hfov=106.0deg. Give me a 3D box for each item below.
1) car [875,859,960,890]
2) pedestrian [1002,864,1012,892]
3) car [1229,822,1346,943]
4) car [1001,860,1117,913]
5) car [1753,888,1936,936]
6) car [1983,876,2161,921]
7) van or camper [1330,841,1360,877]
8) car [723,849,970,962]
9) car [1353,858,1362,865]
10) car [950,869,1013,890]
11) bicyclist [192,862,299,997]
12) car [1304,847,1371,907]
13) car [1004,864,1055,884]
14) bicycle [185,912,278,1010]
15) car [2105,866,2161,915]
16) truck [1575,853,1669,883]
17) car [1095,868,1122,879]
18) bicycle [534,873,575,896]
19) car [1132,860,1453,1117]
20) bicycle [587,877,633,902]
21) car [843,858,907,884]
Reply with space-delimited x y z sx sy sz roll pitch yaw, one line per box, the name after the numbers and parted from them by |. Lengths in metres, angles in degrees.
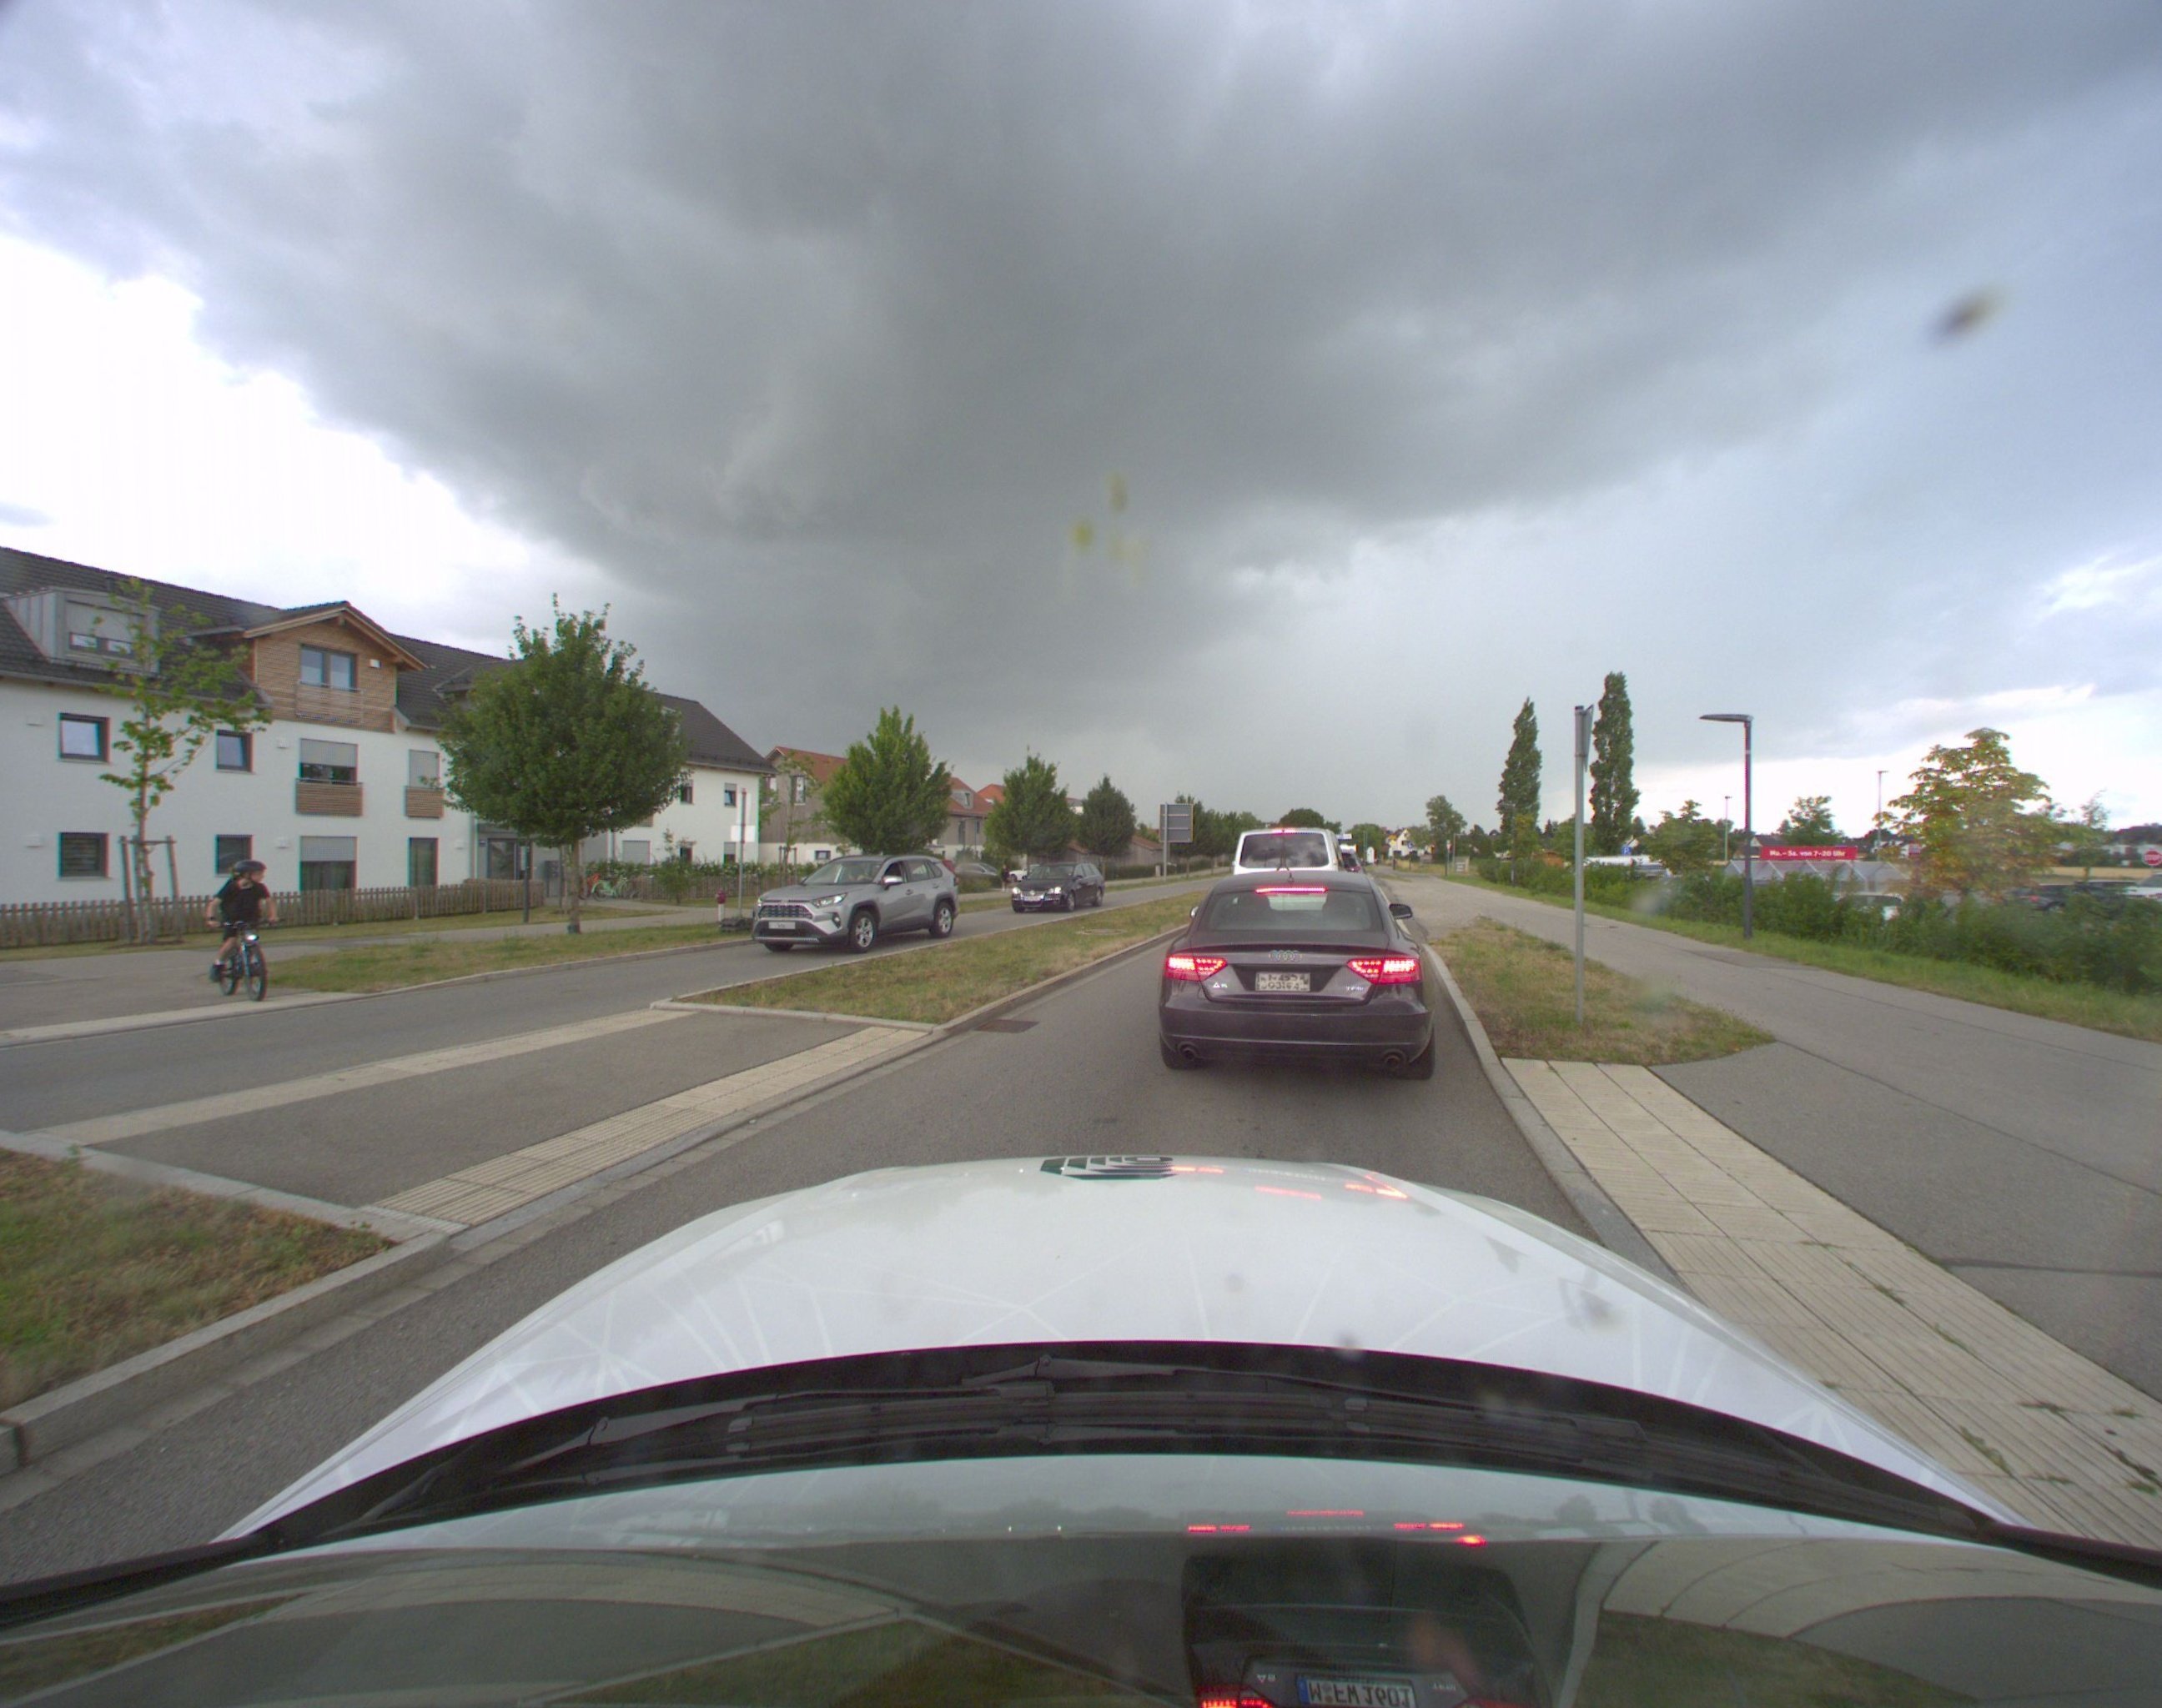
-9.569 1.180 47.757 4.491 1.680 2.011 0 0 22 | car
-4.223 1.340 46.375 0.581 1.559 0.658 0 0 -6 | pedestrian
3.916 0.455 15.212 1.853 1.934 4.017 0 0 16 | car
-0.537 0.918 24.632 1.738 1.416 4.480 -1 -1 23 | car
26.388 1.969 28.348 4.198 1.440 2.009 0 0 19 | car
41.177 1.825 33.882 4.520 1.664 2.010 0 0 18 | car
25.747 0.558 79.378 2.604 3.324 6.852 1 -1 18 | van or camper
-3.995 0.796 14.868 1.977 1.704 4.657 -1 0 19 | car
54.098 1.410 159.338 1.600 1.272 3.478 1 0 19 | car
-6.802 1.716 55.746 3.884 1.315 1.850 0 0 16 | car
-9.598 0.828 9.395 0.728 1.446 0.859 -1 0 -37 | bicyclist
7.760 0.636 24.491 1.762 1.618 4.019 0 0 19 | car
-4.121 1.601 65.003 3.701 1.482 1.693 1 0 15 | car
-9.823 1.192 9.459 0.500 0.946 1.694 -1 -1 -38 | bicycle
48.317 1.553 35.188 5.079 2.013 2.005 0 1 8 | car
35.532 0.892 53.622 4.762 1.872 2.008 1 0 14 | truck
2.674 1.870 78.862 2.455 1.028 1.190 0 0 13 | car
-20.042 1.156 31.029 0.364 0.843 1.344 3 1 21 | bicycle
1.770 0.767 6.705 1.770 1.391 4.150 -1 0 17 | car
-17.414 1.298 30.124 0.364 0.843 1.555 3 1 21 | bicycle
-14.415 1.173 57.125 1.976 1.772 4.490 0 -1 24 | car
